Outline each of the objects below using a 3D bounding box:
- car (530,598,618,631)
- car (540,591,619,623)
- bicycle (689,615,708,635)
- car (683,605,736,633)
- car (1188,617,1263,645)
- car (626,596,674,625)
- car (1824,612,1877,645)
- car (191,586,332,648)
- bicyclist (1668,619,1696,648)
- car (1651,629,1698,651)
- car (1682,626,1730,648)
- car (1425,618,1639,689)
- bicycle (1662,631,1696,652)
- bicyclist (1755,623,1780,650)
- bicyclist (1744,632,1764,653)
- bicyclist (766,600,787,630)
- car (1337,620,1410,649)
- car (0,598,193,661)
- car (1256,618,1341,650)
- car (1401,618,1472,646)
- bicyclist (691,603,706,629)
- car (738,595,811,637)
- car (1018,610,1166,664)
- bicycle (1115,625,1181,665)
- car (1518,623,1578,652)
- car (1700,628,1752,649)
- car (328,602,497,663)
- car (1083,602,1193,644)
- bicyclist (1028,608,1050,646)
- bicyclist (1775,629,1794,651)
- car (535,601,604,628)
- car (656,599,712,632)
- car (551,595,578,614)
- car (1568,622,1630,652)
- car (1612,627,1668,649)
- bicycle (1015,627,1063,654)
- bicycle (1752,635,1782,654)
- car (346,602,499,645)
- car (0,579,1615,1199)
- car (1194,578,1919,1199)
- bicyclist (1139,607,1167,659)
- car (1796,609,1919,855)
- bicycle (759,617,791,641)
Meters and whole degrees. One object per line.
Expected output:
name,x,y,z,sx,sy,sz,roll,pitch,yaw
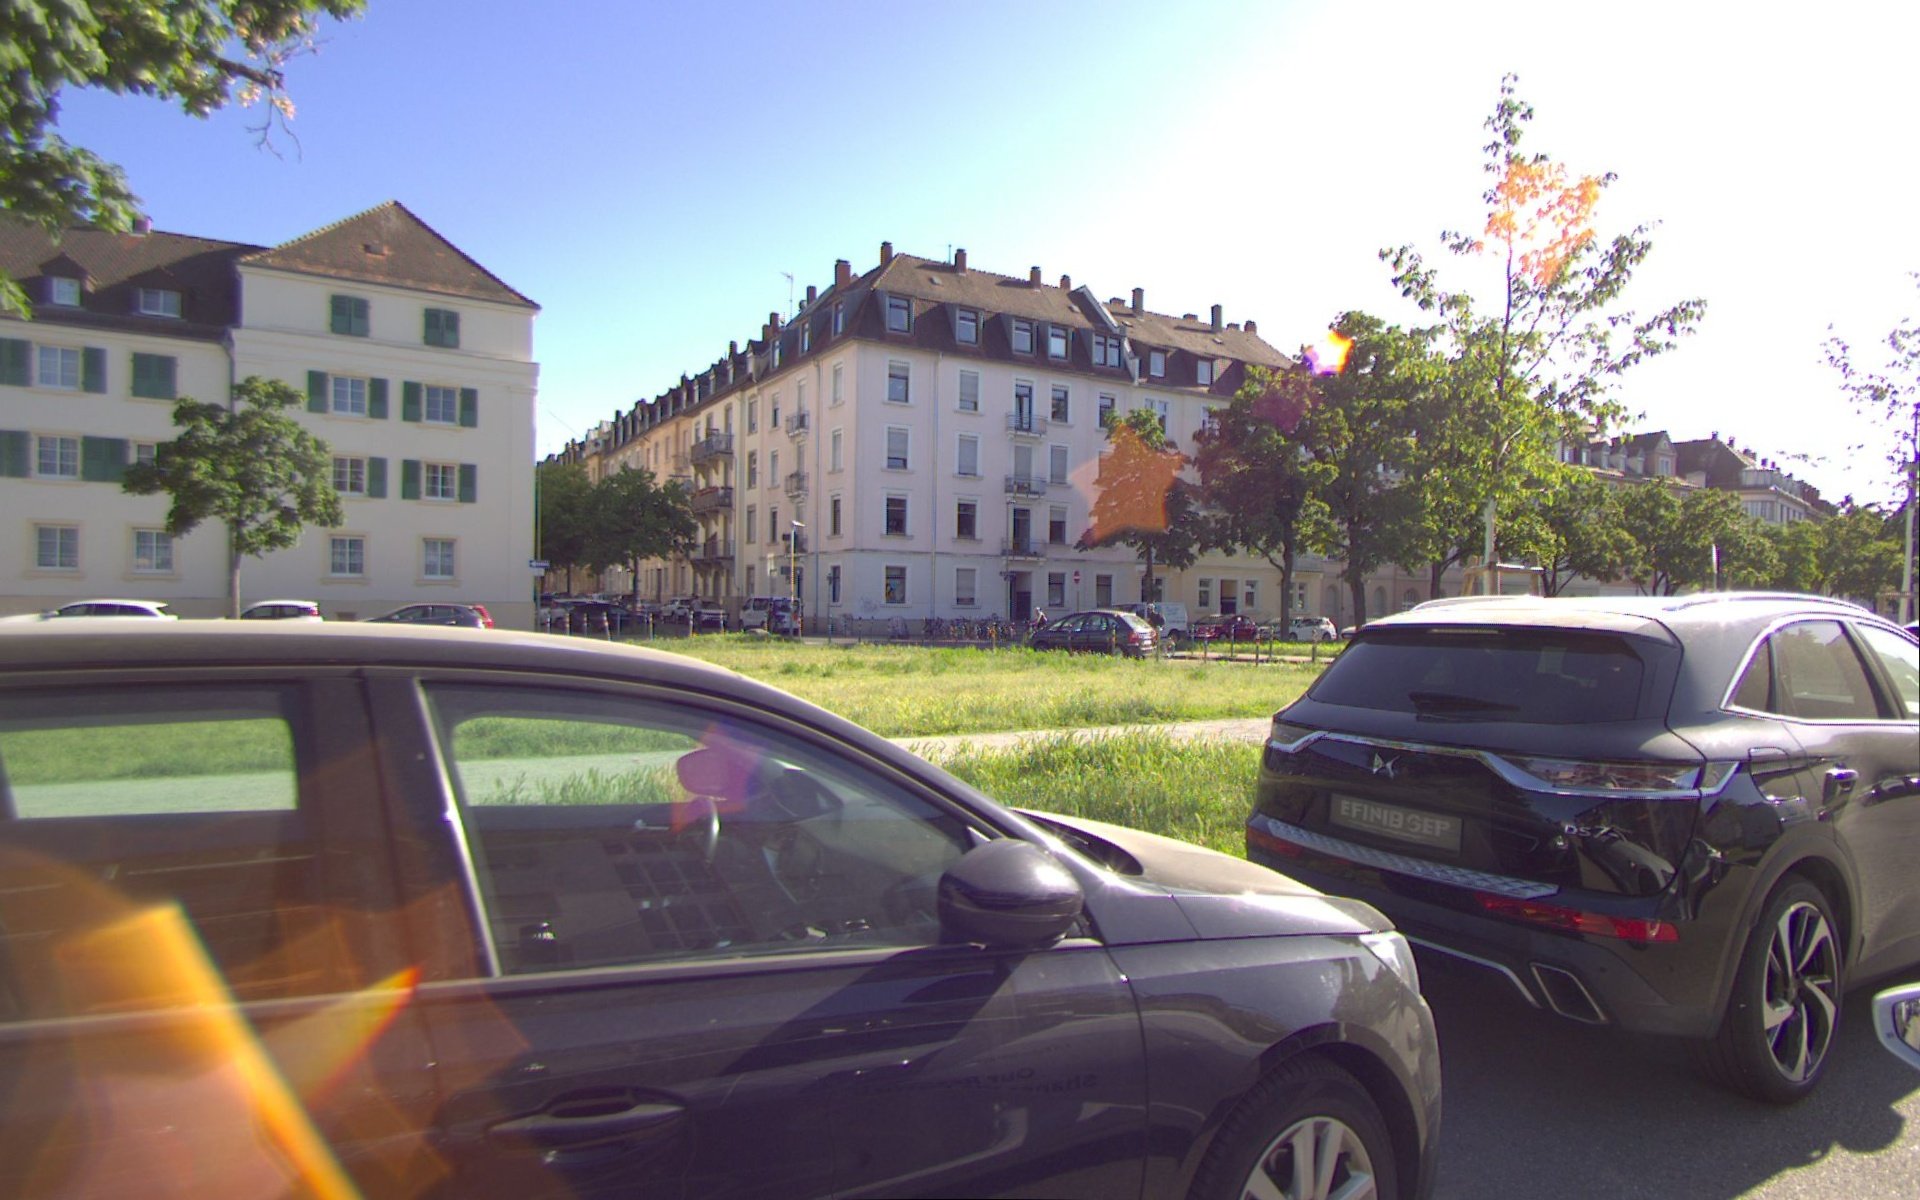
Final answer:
car,-20.802,0.786,54.242,4.195,1.724,1.692,1,0,-32
car,-19.781,0.370,52.259,3.577,1.541,1.693,1,0,-33
bicycle,-13.629,1.296,52.379,0.523,1.030,1.474,1,0,-32
car,-15.064,1.116,60.306,1.917,1.590,3.848,1,0,-33
car,13.225,1.550,49.999,3.487,1.296,1.685,1,0,-32
car,-22.266,0.747,72.099,2.130,2.009,4.867,1,0,-32
car,77.511,2.447,87.390,5.562,2.780,1.905,1,0,-32
car,-24.261,0.600,35.065,3.851,2.040,1.657,2,-1,-30
bicyclist,47.047,2.192,65.438,1.432,1.861,0.937,2,-1,-30
car,51.236,2.859,72.021,3.300,1.459,1.375,1,0,-28
car,63.738,3.176,85.807,3.953,1.772,1.851,1,0,-30
car,13.757,1.217,24.271,4.279,1.428,1.913,1,2,37
bicycle,46.739,2.702,65.308,2.604,1.269,0.806,0,1,-31
bicyclist,57.849,2.603,71.987,1.433,1.861,0.937,2,-1,-30
bicyclist,55.748,2.978,70.492,0.931,1.456,0.735,2,-5,-29
bicyclist,-8.536,0.708,46.601,0.618,1.382,0.868,1,0,-38
car,22.926,1.894,55.667,4.035,1.547,1.685,1,0,-32
car,-28.409,0.939,32.733,5.097,1.911,2.144,1,0,-30
car,17.755,1.775,52.637,4.645,1.582,1.685,1,0,-32
car,27.596,1.840,58.134,4.306,1.570,1.623,1,0,-32
bicyclist,-13.688,0.831,52.501,0.528,1.382,0.779,1,0,-32
car,-9.521,0.790,51.265,2.117,2.040,4.537,1,0,-32
car,4.158,1.132,31.958,4.279,1.597,1.922,0,-1,37
bicycle,6.344,1.503,33.950,2.111,1.275,0.715,1,0,18
car,37.537,2.387,64.098,4.035,1.709,1.623,1,0,-32
car,58.056,2.911,76.135,3.728,1.459,1.838,1,0,-29
car,-17.646,1.029,32.511,4.651,1.844,2.147,1,0,-31
car,8.456,1.079,47.667,5.041,1.897,2.070,1,0,-32
bicyclist,3.840,1.332,48.945,0.792,1.827,0.670,1,0,-30
bicyclist,57.162,2.784,69.617,0.931,1.456,0.734,2,-1,-29
car,-23.419,0.874,60.291,3.577,1.541,1.843,1,0,-33
car,-17.735,0.947,64.467,1.979,2.000,5.006,1,0,-34
car,-39.352,0.436,99.842,1.933,1.730,4.132,1,0,-29
car,42.699,2.440,67.108,4.411,1.933,1.727,1,0,-32
car,47.227,2.625,69.709,3.727,1.448,1.687,1,0,-28
bicycle,3.867,1.954,48.998,2.231,1.279,0.838,1,0,-30
bicycle,57.826,3.211,71.961,2.604,1.269,0.806,2,0,-31
car,-19.978,0.883,37.472,4.900,1.504,1.984,1,-1,-30
car,-0.817,0.794,2.069,4.418,1.539,1.865,1,-2,-30
car,3.460,0.827,4.607,4.681,1.631,1.812,1,-2,-29
bicyclist,6.520,1.102,33.908,0.861,1.713,0.632,0,0,17
car,8.616,0.933,7.714,4.658,1.660,1.835,1,-2,-29
bicycle,-8.597,1.346,46.629,0.652,1.030,1.961,1,0,-36
